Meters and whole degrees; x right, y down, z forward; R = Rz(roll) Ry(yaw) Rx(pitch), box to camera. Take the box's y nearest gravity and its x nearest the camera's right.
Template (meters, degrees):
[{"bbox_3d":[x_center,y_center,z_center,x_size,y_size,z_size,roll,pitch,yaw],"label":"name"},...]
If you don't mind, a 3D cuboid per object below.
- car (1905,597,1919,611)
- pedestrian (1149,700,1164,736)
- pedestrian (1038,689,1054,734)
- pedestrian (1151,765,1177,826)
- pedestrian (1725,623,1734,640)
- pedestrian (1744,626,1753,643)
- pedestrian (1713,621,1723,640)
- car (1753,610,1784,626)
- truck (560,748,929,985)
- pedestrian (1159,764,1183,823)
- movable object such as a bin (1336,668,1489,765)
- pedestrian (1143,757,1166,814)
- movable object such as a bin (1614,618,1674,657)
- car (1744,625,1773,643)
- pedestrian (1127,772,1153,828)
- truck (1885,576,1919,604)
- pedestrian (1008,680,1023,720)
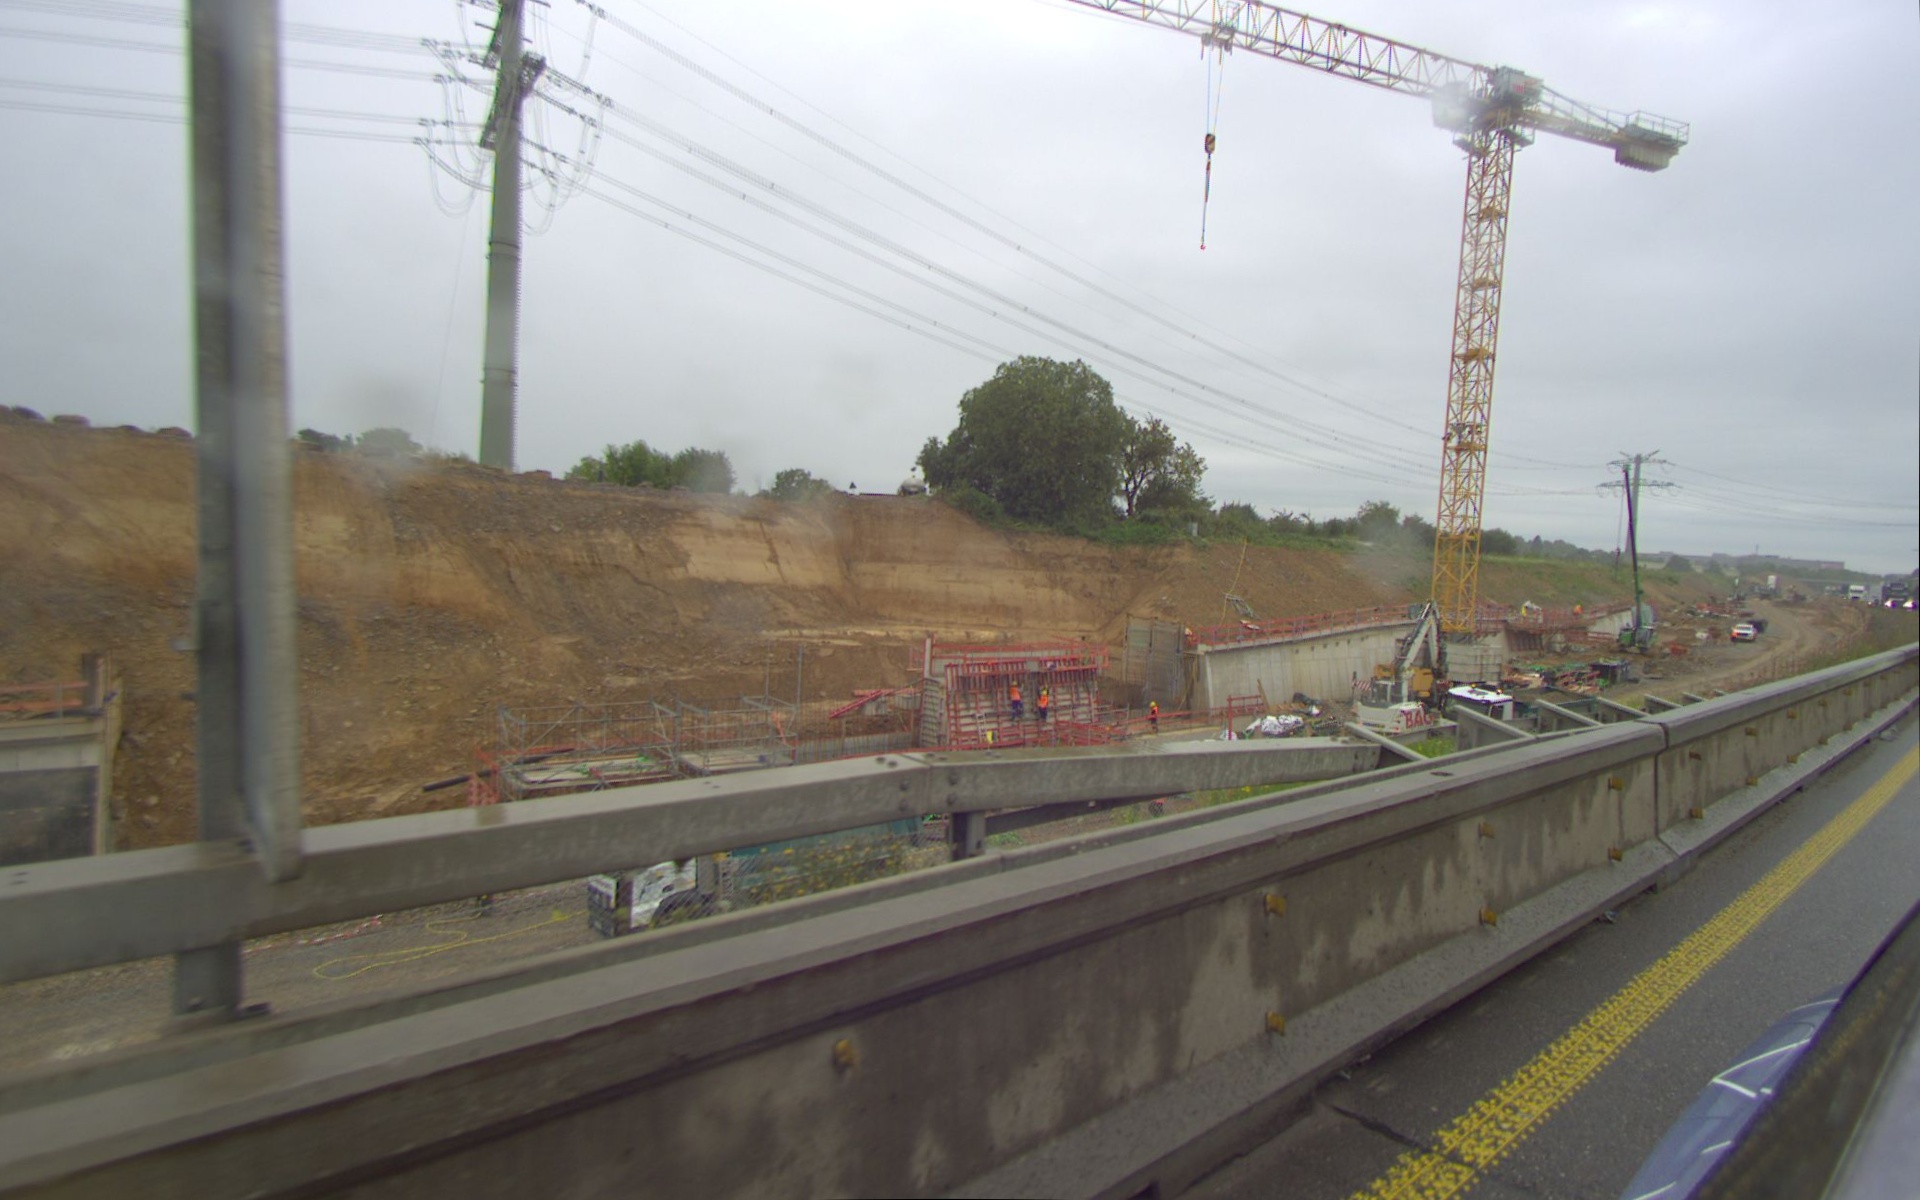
[{"bbox_3d":[104.886,0.411,110.805,3.932,1.445,1.787,-1,1,-42],"label":"car"},{"bbox_3d":[10.412,6.237,53.626,0.473,1.781,0.489,-1,4,-42],"label":"pedestrian"},{"bbox_3d":[4.145,5.369,48.911,0.473,2.127,0.488,-1,-3,-42],"label":"pedestrian"},{"bbox_3d":[7.084,6.777,35.183,0.604,1.928,0.603,-1,3,-42],"label":"pedestrian"},{"bbox_3d":[78.109,3.231,102.777,0.593,1.702,0.613,0,0,-41],"label":"pedestrian"},{"bbox_3d":[81.625,3.599,104.797,0.593,1.702,0.613,0,0,-41],"label":"pedestrian"},{"bbox_3d":[77.392,3.088,103.330,0.655,1.881,0.614,0,3,-41],"label":"pedestrian"},{"bbox_3d":[98.991,2.153,123.914,4.778,1.638,2.348,-1,3,-43],"label":"car"},{"bbox_3d":[-5.171,6.319,25.707,8.911,3.655,2.711,-2,4,-39],"label":"truck"},{"bbox_3d":[7.530,6.888,36.095,0.473,1.928,0.603,-1,4,-42],"label":"pedestrian"},{"bbox_3d":[20.951,5.215,46.802,6.524,3.466,3.522,-2,2,-33],"label":"movable object such as a bin"},{"bbox_3d":[7.133,6.786,37.100,0.473,1.927,0.603,-1,4,-42],"label":"pedestrian"},{"bbox_3d":[63.459,3.419,93.876,3.932,2.914,3.501,-1,8,-42],"label":"movable object such as a bin"},{"bbox_3d":[85.248,3.578,108.009,4.012,1.638,1.857,-1,3,-43],"label":"car"},{"bbox_3d":[6.290,6.976,35.384,0.473,1.790,0.603,-1,5,-42],"label":"pedestrian"},{"bbox_3d":[136.896,-1.498,146.562,8.194,3.942,3.541,-1,1,-42],"label":"truck"},{"bbox_3d":[2.607,4.743,47.863,0.571,1.827,0.489,-3,-2,-2],"label":"pedestrian"}]
